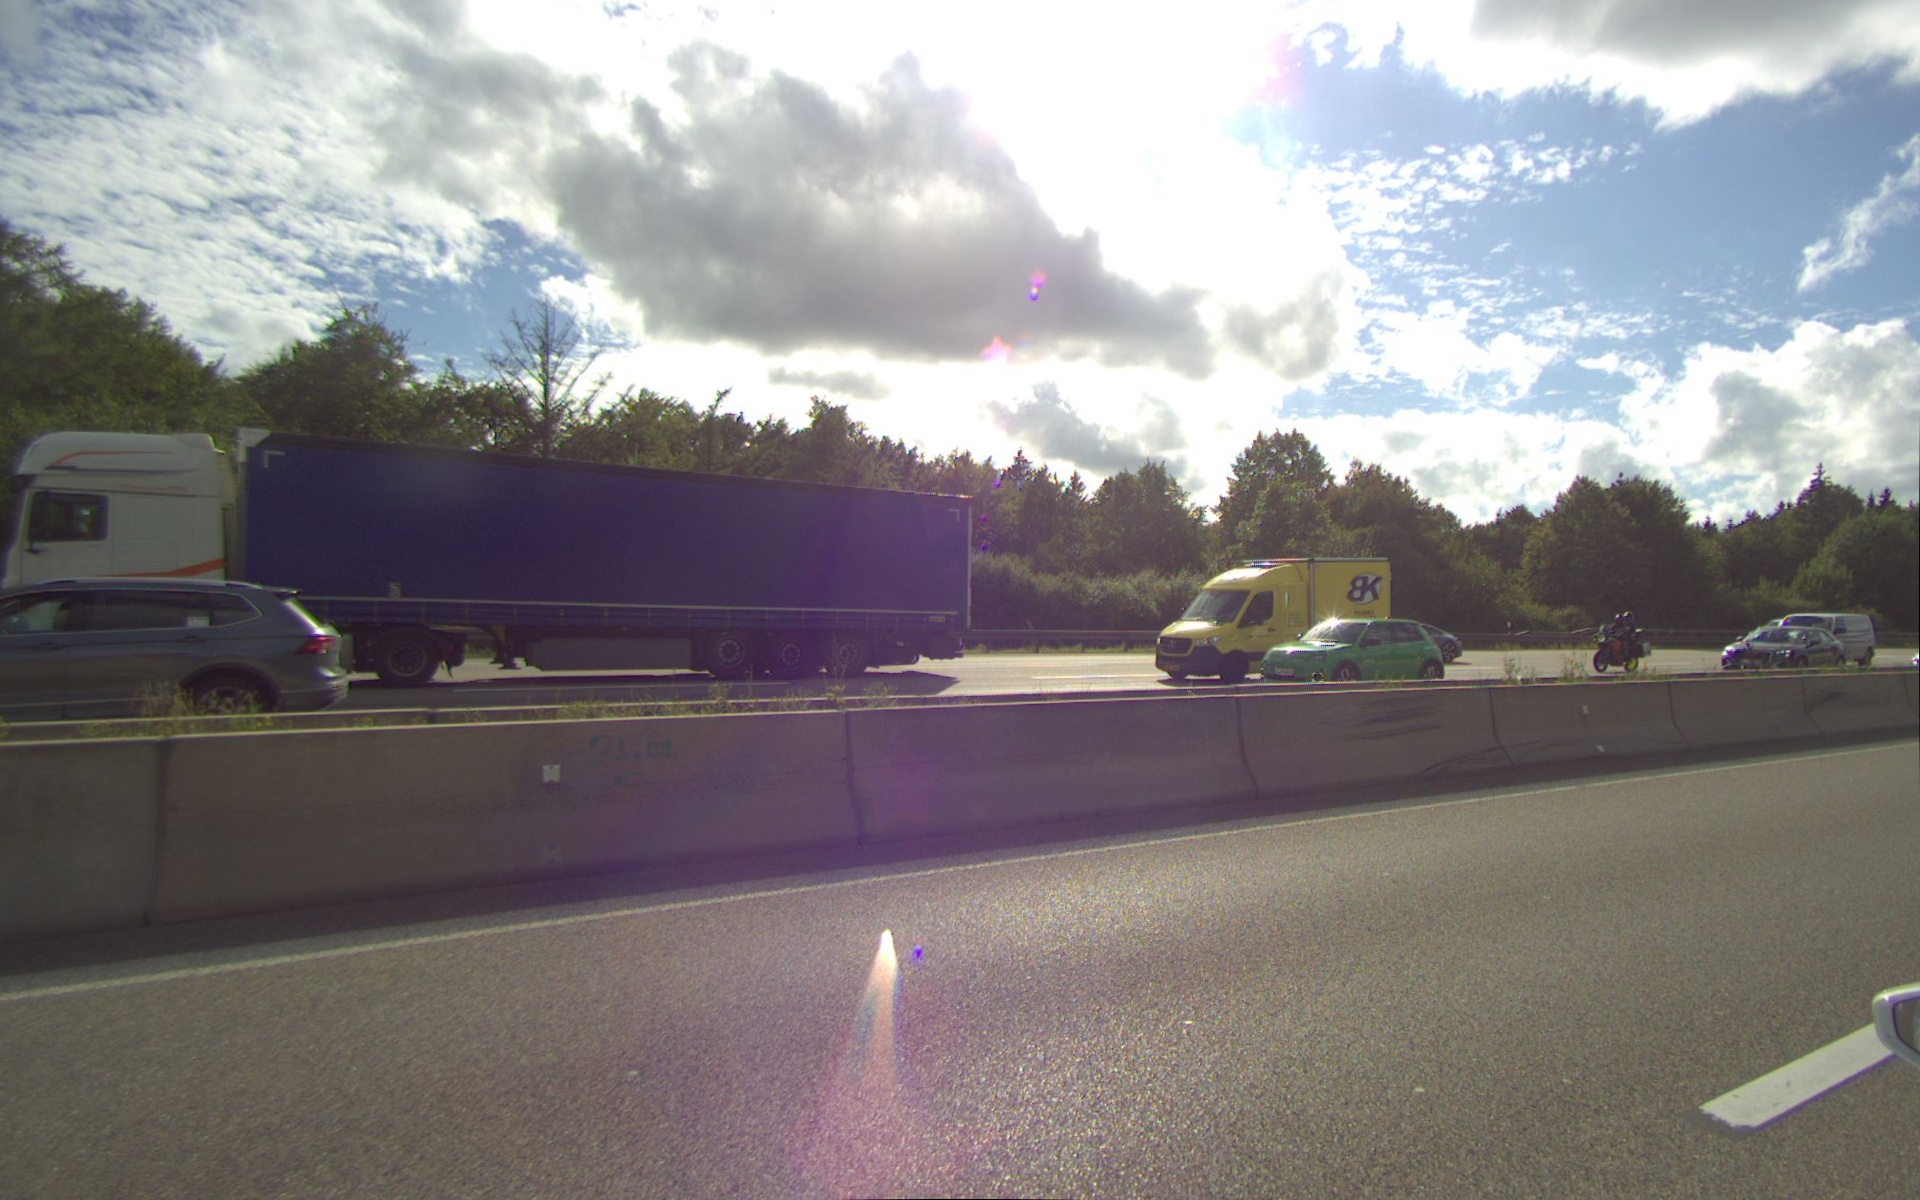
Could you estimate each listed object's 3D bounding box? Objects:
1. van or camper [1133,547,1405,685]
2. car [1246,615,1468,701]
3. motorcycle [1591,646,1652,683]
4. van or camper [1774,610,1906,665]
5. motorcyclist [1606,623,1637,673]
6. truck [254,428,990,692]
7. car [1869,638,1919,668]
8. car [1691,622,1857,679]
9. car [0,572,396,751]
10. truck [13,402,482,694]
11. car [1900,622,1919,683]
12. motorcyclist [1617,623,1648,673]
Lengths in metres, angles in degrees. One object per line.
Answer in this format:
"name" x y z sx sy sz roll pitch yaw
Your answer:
"van or camper" 7.453 0.404 24.026 6.424 2.930 2.364 1 0 -28
"car" 7.814 1.085 19.692 4.279 1.490 1.775 1 0 -30
"motorcycle" 20.278 1.961 30.781 2.148 1.053 0.607 1 0 -29
"van or camper" 33.900 1.422 38.677 5.388 1.963 1.986 1 0 -27
"motorcyclist" 20.277 1.474 30.787 0.525 1.495 0.600 2 0 -28
"truck" -5.904 -0.489 20.549 13.686 4.149 2.805 1 0 -31
"car" 49.190 2.730 52.167 4.229 1.413 1.814 1 0 -31
"car" 23.814 1.439 29.361 4.727 1.490 2.162 1 0 -29
"car" -8.544 0.589 10.208 4.858 1.617 1.834 1 -2 -31
"truck" -11.588 -0.684 17.071 5.992 4.149 2.805 1 0 -31
"car" 27.093 1.397 26.703 4.607 1.572 1.854 1 0 -31
"motorcyclist" 20.806 1.483 31.072 0.525 1.495 0.600 2 0 -28
